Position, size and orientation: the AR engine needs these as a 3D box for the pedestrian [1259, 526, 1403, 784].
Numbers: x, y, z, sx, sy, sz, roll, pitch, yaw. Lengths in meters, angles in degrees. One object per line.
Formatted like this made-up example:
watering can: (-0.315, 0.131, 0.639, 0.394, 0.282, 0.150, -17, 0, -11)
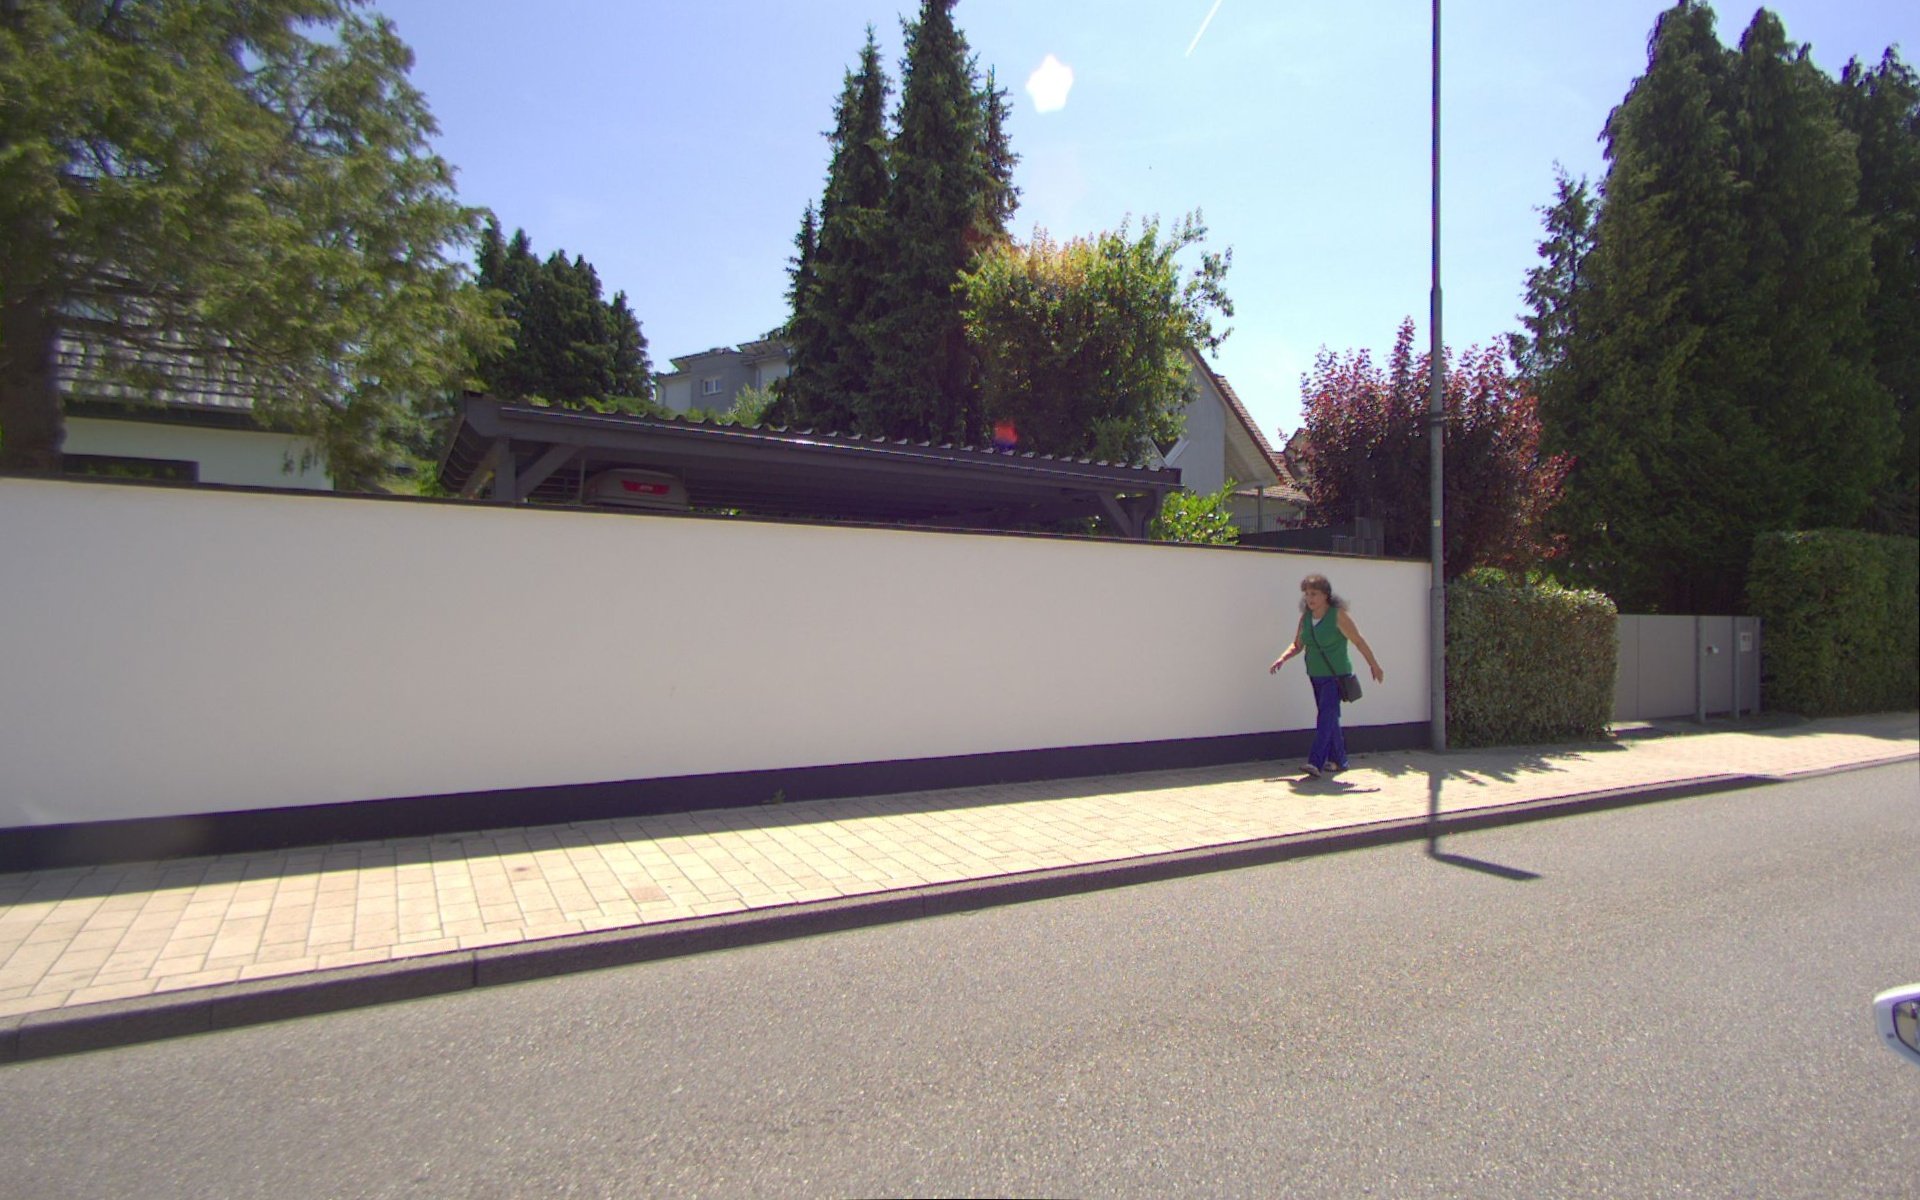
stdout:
pedestrian: (3.111, 0.446, 8.443, 0.795, 2.040, 0.717, 2, 0, -30)
